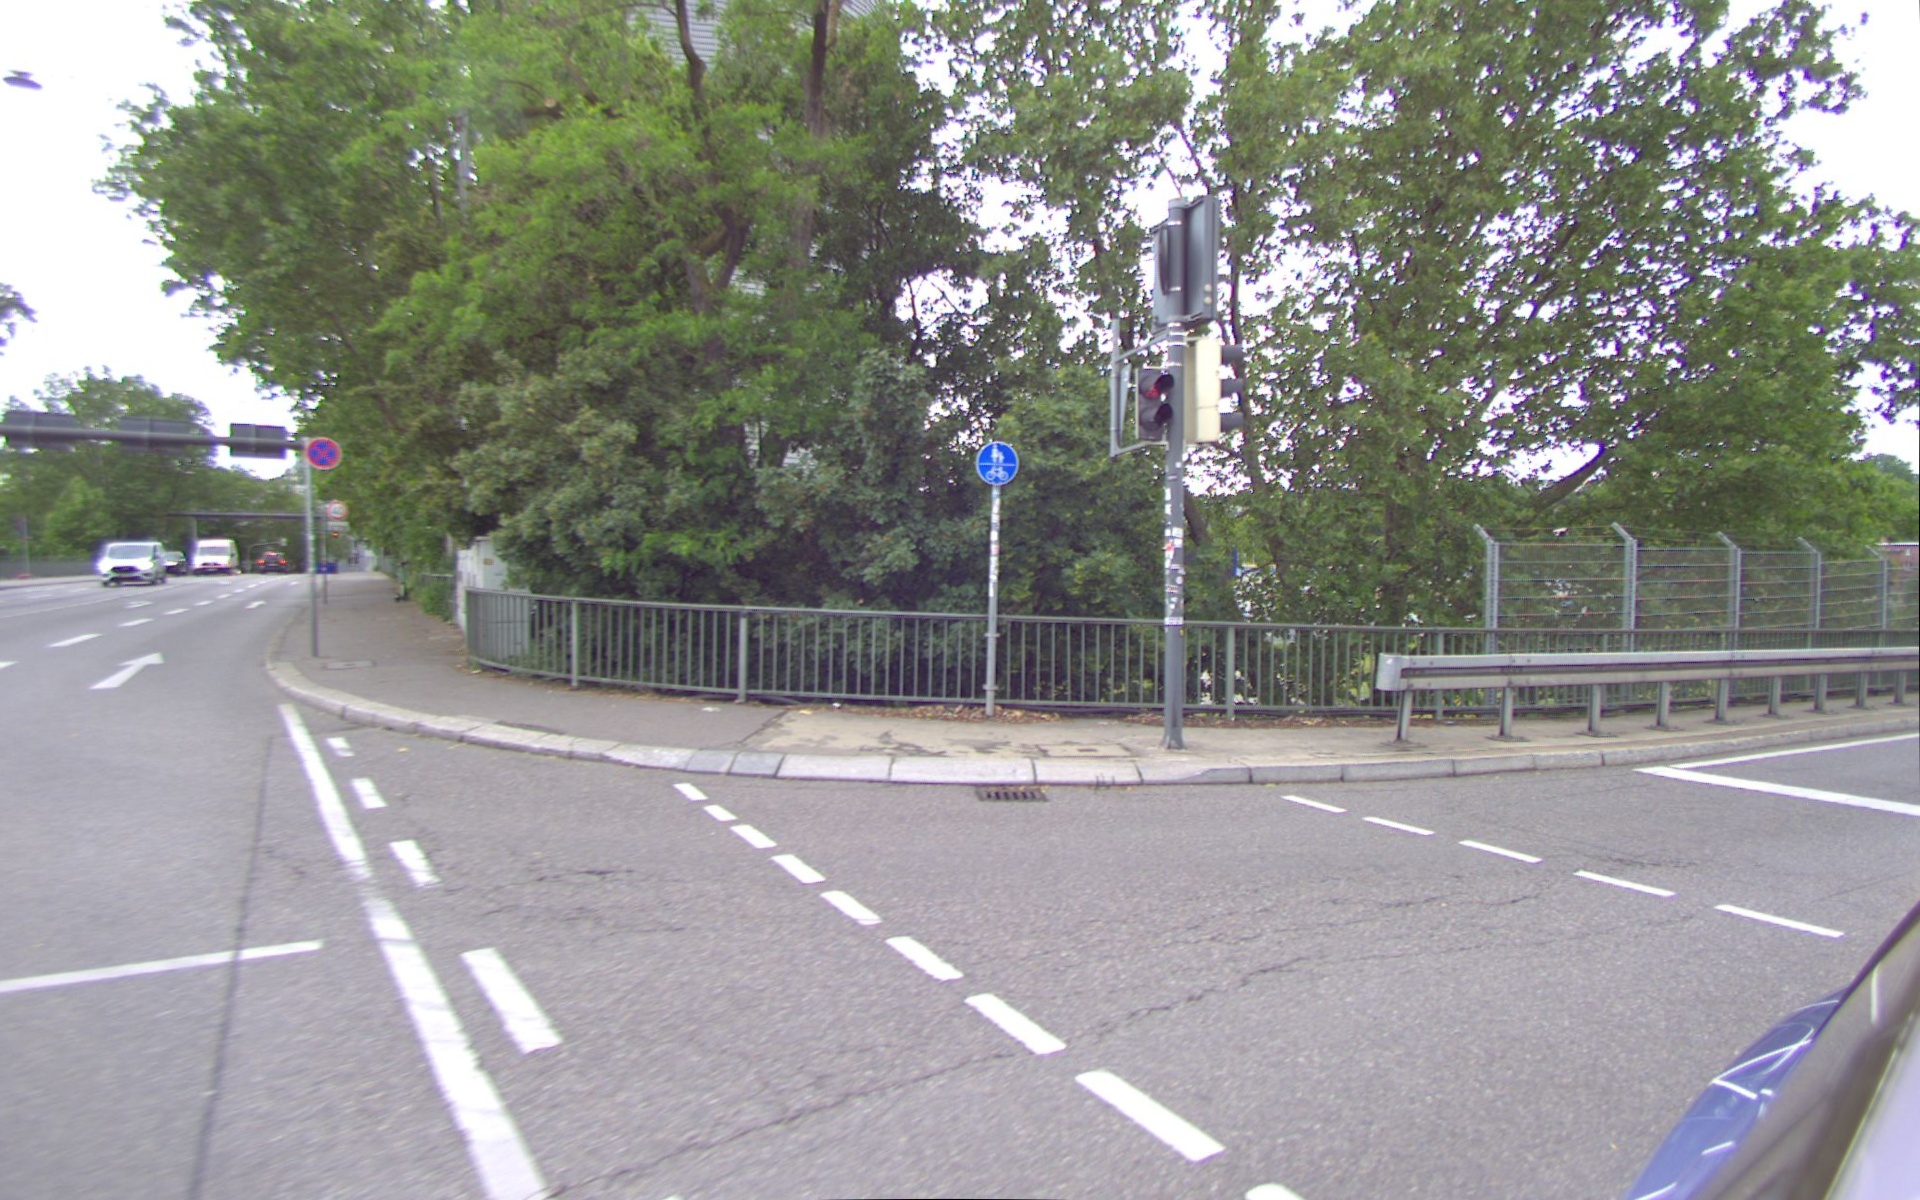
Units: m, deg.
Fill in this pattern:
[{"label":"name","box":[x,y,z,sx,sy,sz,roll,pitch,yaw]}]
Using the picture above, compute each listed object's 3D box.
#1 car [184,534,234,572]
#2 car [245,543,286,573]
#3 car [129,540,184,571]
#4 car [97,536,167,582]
[{"label":"car","box":[-52.280,-3.247,70.538,2.286,2.555,4.954,0,2,-31]},{"label":"car","box":[-53.660,-3.271,78.282,1.961,2.036,4.009,-6,7,-27]},{"label":"car","box":[-55.400,-3.087,69.910,2.287,1.938,4.956,-1,5,-31]},{"label":"car","box":[-38.935,-1.893,47.710,1.896,2.024,4.457,-1,1,-31]}]
